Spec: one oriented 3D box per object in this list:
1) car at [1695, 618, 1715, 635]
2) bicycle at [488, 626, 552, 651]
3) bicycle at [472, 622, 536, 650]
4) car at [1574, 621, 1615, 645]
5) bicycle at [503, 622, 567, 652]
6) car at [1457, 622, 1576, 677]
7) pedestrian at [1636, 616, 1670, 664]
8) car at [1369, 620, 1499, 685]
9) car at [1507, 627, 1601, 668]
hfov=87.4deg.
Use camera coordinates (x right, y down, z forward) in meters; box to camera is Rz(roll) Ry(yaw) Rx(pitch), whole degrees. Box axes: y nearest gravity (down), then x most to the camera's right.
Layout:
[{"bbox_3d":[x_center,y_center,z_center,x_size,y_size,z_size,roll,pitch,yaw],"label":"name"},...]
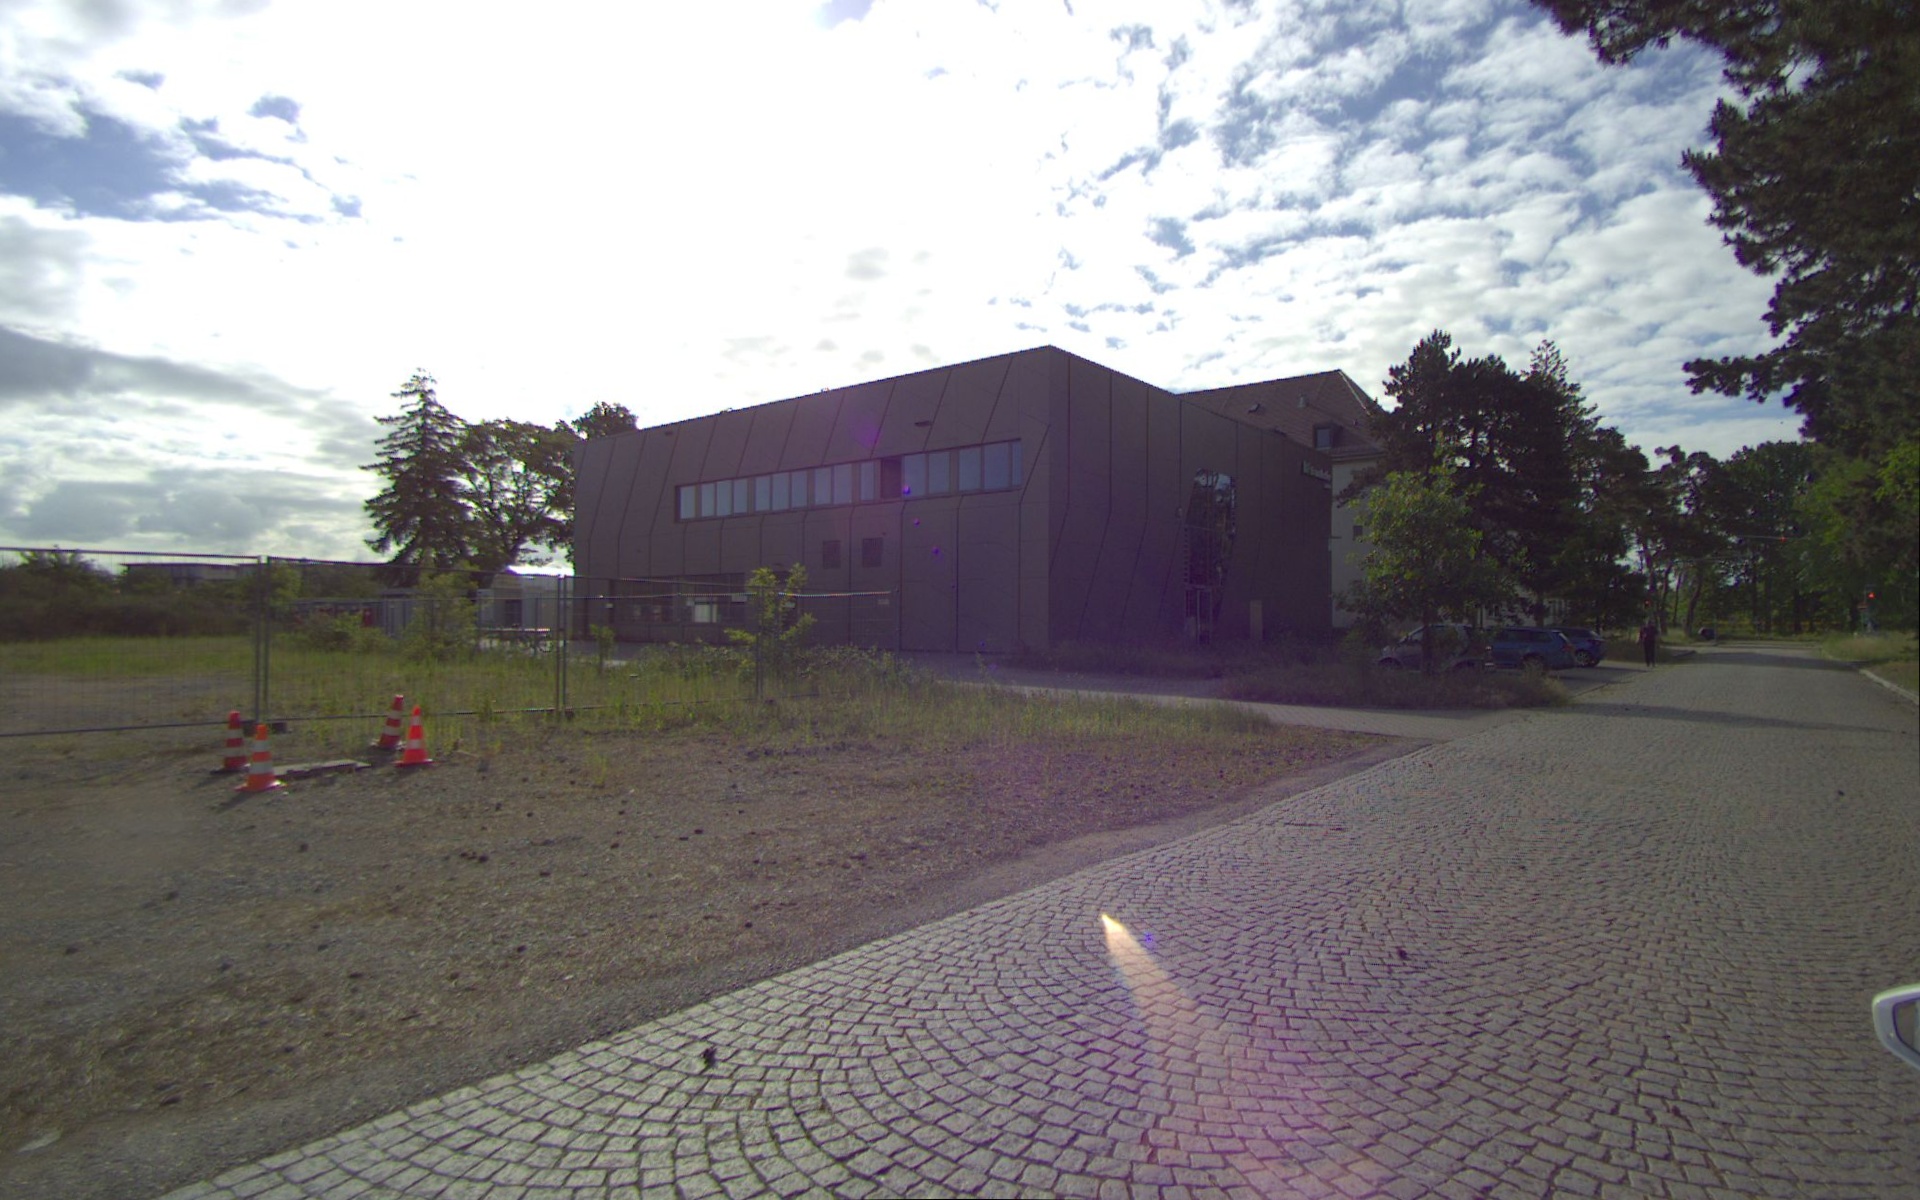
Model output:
[{"bbox_3d":[89.473,3.190,120.637,1.677,2.040,3.982,0,-1,39],"label":"car"},{"bbox_3d":[-16.910,1.467,38.667,0.931,0.934,2.061,0,-1,37],"label":"bicycle"},{"bbox_3d":[-17.774,1.404,39.174,0.931,1.058,2.061,0,-1,37],"label":"bicycle"},{"bbox_3d":[44.835,2.332,70.956,1.970,1.639,3.982,-1,-2,39],"label":"car"},{"bbox_3d":[-15.992,1.376,37.840,0.931,1.101,2.061,0,-1,37],"label":"bicycle"},{"bbox_3d":[17.205,1.493,31.096,3.042,1.476,1.487,2,0,35],"label":"car"},{"bbox_3d":[27.498,1.579,39.883,0.941,1.868,0.955,0,-1,25],"label":"pedestrian"},{"bbox_3d":[12.160,1.312,25.820,2.731,1.570,1.417,-1,-1,44],"label":"car"},{"bbox_3d":[22.770,1.797,38.549,3.042,1.469,1.488,-1,-1,34],"label":"car"}]
